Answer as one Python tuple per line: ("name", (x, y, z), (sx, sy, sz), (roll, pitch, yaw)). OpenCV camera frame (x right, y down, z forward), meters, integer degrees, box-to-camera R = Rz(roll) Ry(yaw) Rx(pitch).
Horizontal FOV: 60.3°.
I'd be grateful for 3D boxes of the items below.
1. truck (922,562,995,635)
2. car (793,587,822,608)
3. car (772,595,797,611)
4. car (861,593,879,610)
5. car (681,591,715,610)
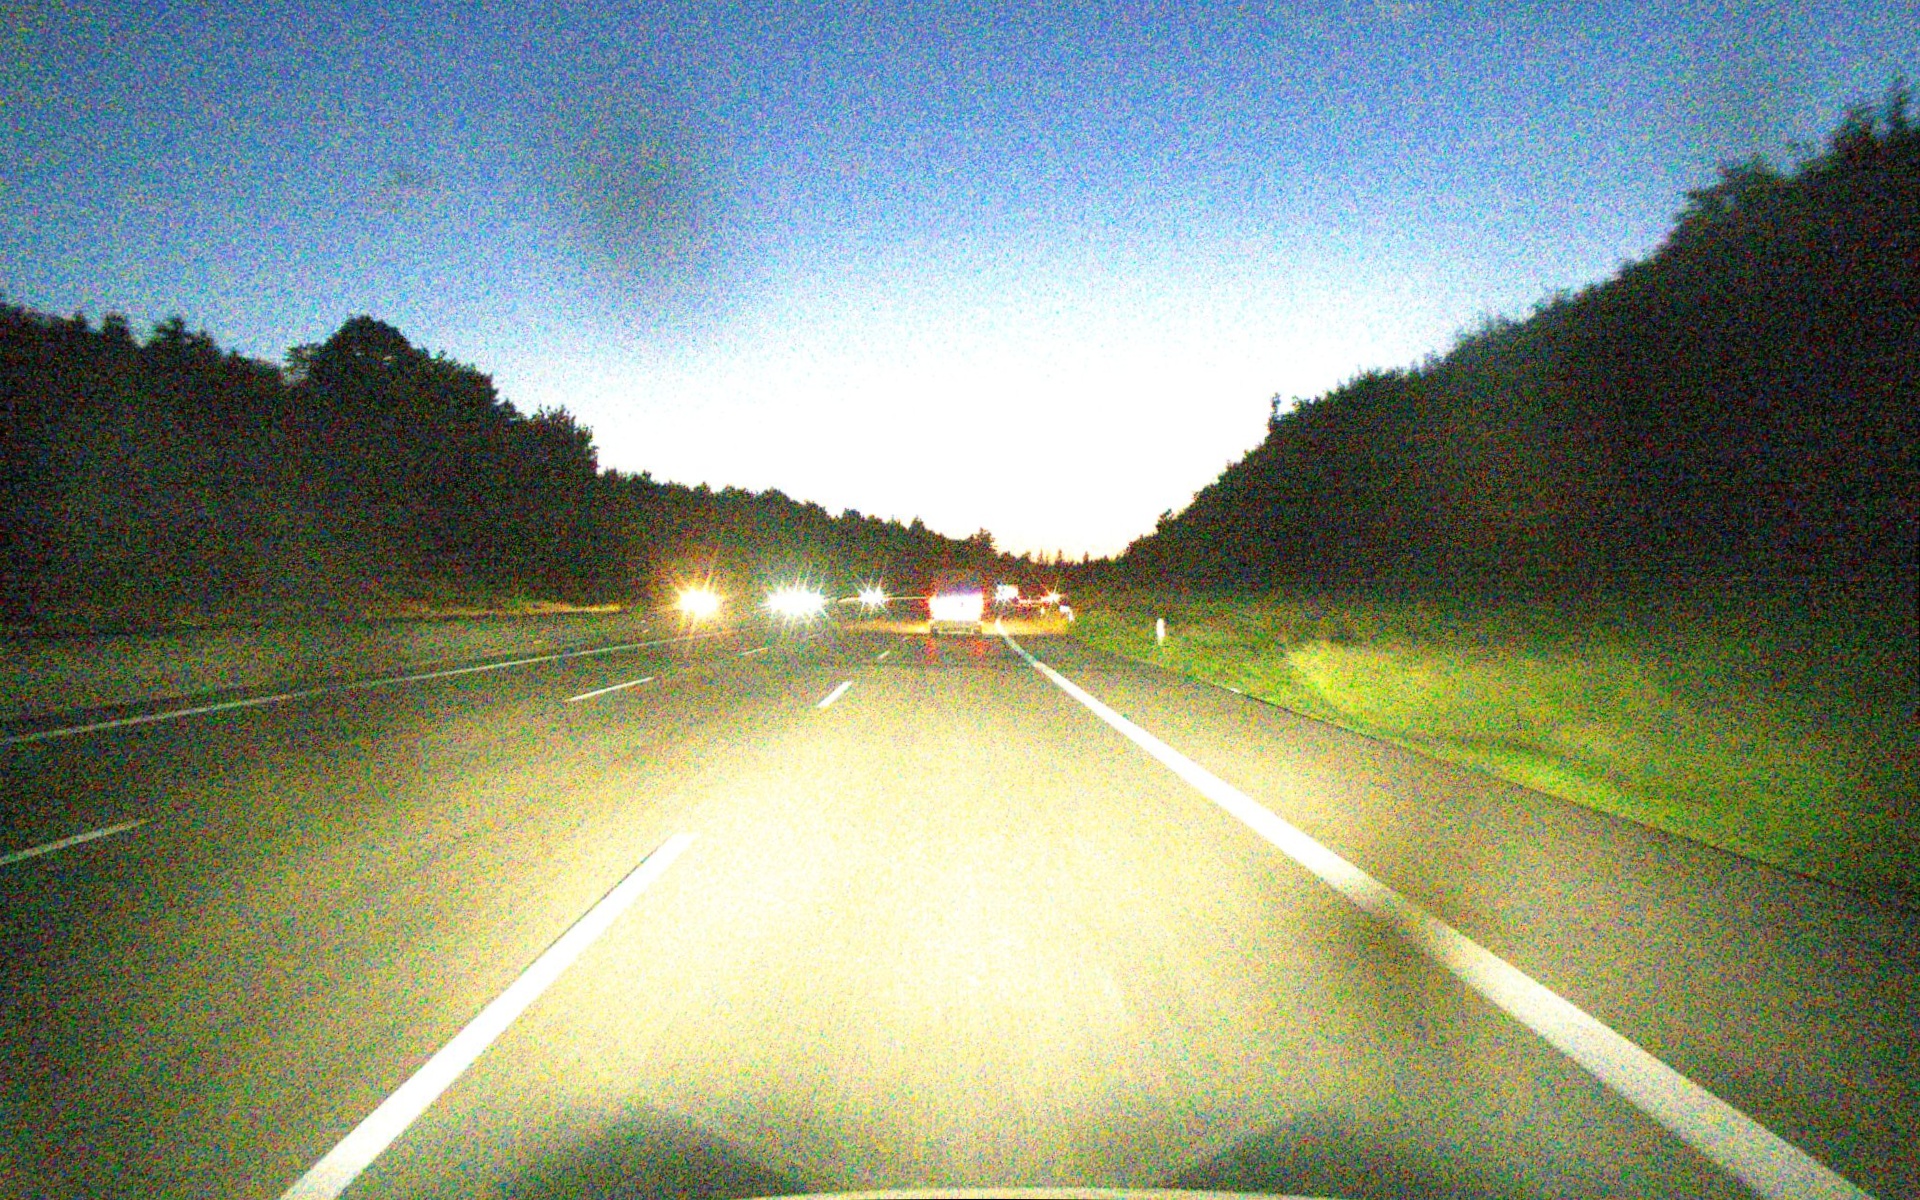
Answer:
("truck", (-0.151, -0.048, 66.164), (2.577, 2.670, 8.681), (1, 0, -2))
("car", (-13.436, -0.222, 146.182), (1.952, 1.822, 4.681), (1, 0, 2))
("car", (-16.741, 0.289, 157.868), (1.953, 1.506, 4.929), (1, 0, -1))
("car", (-13.997, 0.292, 257.283), (2.038, 2.531, 6.244), (1, 0, 3))
("car", (-21.334, 0.029, 134.934), (1.952, 1.534, 4.401), (1, 0, 1))
